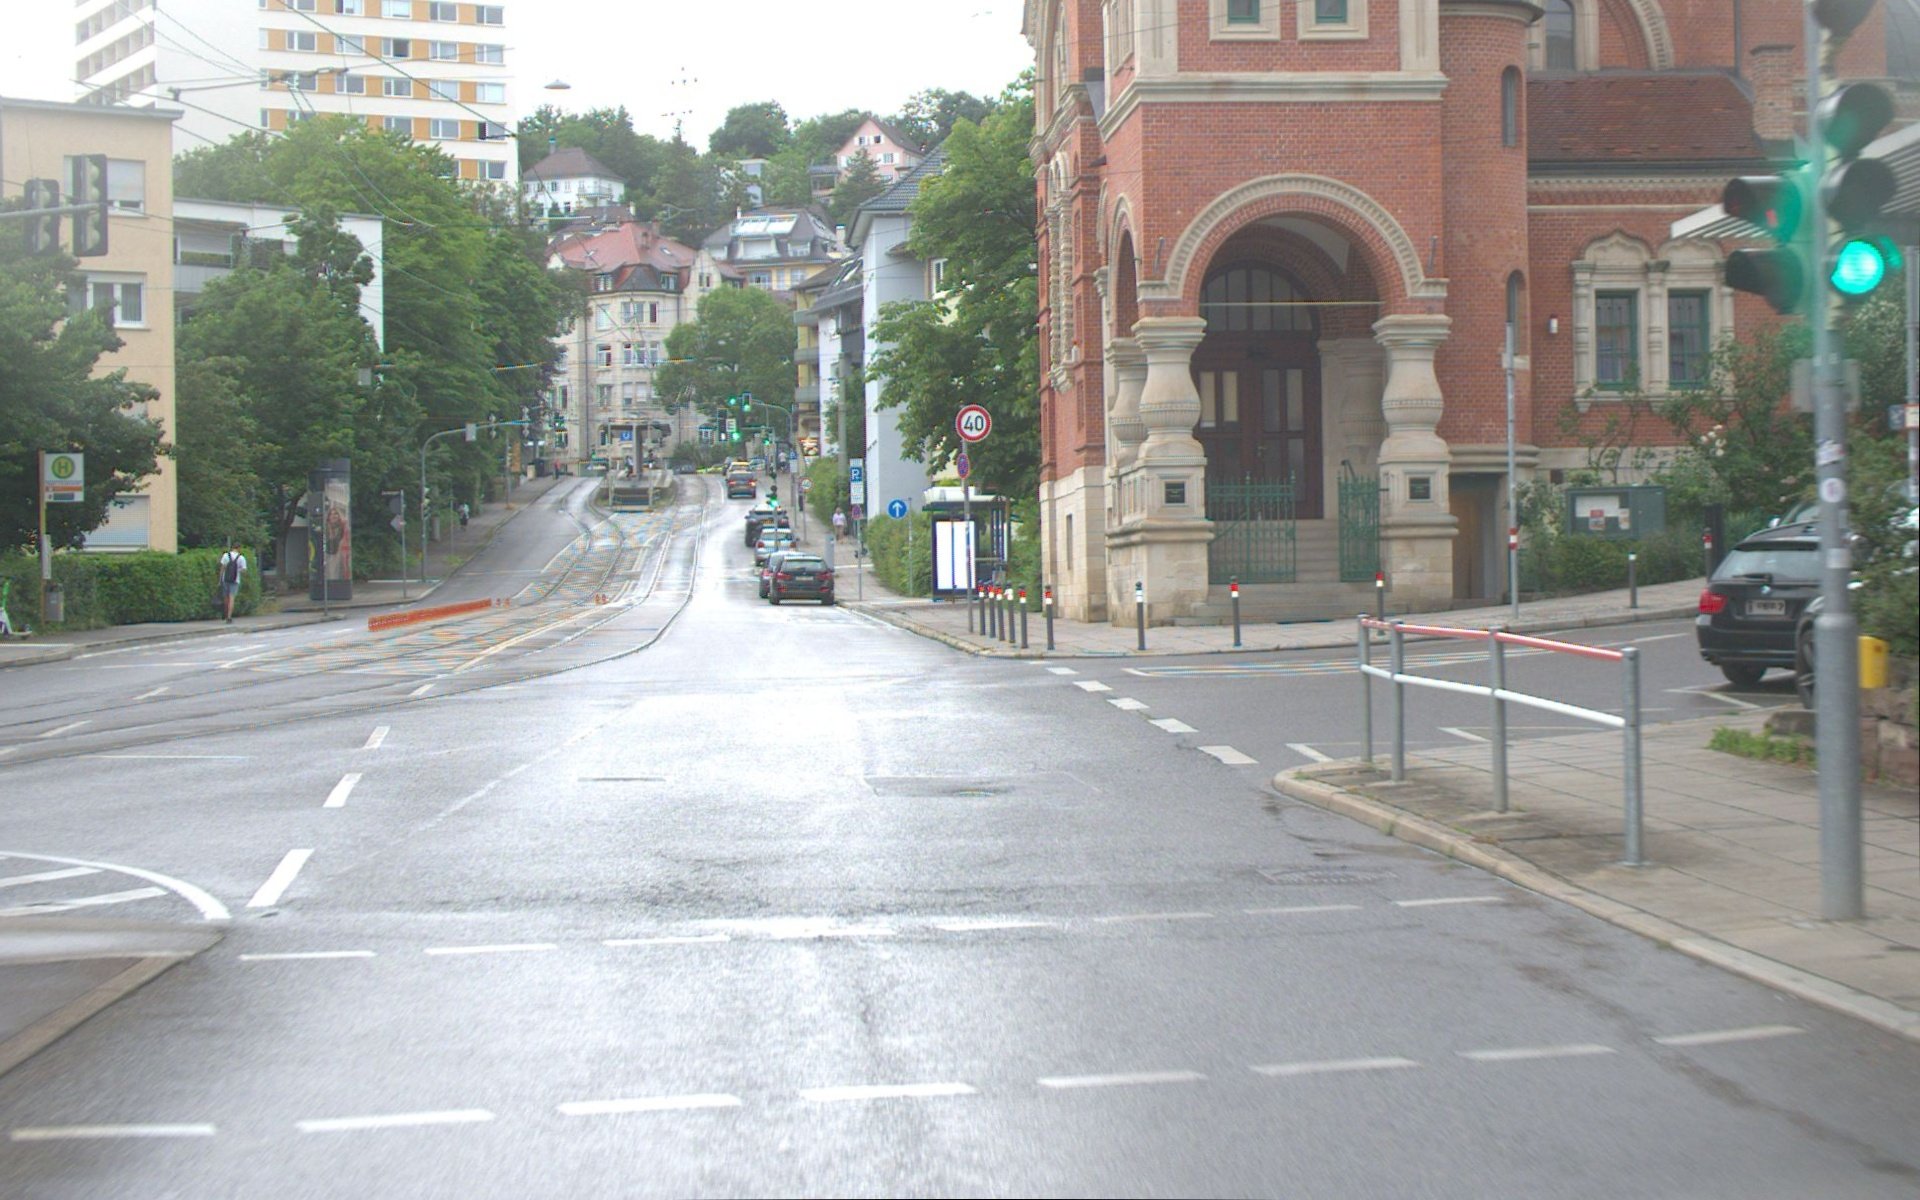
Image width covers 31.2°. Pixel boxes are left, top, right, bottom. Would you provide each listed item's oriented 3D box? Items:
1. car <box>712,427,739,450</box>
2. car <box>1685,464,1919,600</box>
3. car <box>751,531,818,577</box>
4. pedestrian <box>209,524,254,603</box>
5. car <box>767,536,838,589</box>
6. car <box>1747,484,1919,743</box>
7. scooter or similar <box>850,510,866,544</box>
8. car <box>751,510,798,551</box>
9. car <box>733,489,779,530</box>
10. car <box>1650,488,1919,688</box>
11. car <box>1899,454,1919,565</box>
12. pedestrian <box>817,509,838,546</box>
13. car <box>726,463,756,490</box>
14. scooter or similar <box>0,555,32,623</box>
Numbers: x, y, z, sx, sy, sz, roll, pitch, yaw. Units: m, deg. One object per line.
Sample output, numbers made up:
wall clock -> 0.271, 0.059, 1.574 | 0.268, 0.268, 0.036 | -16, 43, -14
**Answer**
car -> -17.584, -12.093, 257.780 | 1.906, 1.636, 4.691 | 1, 3, -5
car -> 11.423, -0.936, 44.430 | 1.941, 1.363, 4.469 | -3, 3, 42
car -> -5.733, -1.513, 112.061 | 1.939, 1.459, 4.207 | 0, 1, -6
pedestrian -> -17.055, -0.851, 80.512 | 0.918, 1.839, 1.017 | 1, 0, -8
car -> -4.643, -1.112, 100.644 | 1.857, 1.482, 4.646 | 0, 1, -5
car -> 6.407, 0.036, 20.998 | 1.853, 1.498, 4.449 | -4, 0, -3
scooter or similar -> -4.100, -2.915, 137.909 | 0.575, 1.245, 1.610 | 0, 6, 1
car -> -7.409, -2.782, 137.095 | 1.704, 1.428, 4.103 | 1, 3, -5
car -> -9.120, -4.057, 153.379 | 1.906, 1.636, 4.691 | 1, 3, -5
car -> 8.293, -0.174, 31.325 | 2.000, 1.452, 4.439 | 1, 5, 40
car -> 15.009, -1.434, 48.113 | 1.945, 1.490, 3.921 | -2, 3, 42
pedestrian -> -5.881, -3.225, 152.222 | 0.882, 1.577, 0.802 | -2, 5, -2
car -> -13.656, -7.698, 214.490 | 1.801, 1.640, 4.001 | 0, 1, -5
scooter or similar -> -16.752, -0.196, 60.515 | 0.572, 1.180, 1.600 | 0, 0, -7
